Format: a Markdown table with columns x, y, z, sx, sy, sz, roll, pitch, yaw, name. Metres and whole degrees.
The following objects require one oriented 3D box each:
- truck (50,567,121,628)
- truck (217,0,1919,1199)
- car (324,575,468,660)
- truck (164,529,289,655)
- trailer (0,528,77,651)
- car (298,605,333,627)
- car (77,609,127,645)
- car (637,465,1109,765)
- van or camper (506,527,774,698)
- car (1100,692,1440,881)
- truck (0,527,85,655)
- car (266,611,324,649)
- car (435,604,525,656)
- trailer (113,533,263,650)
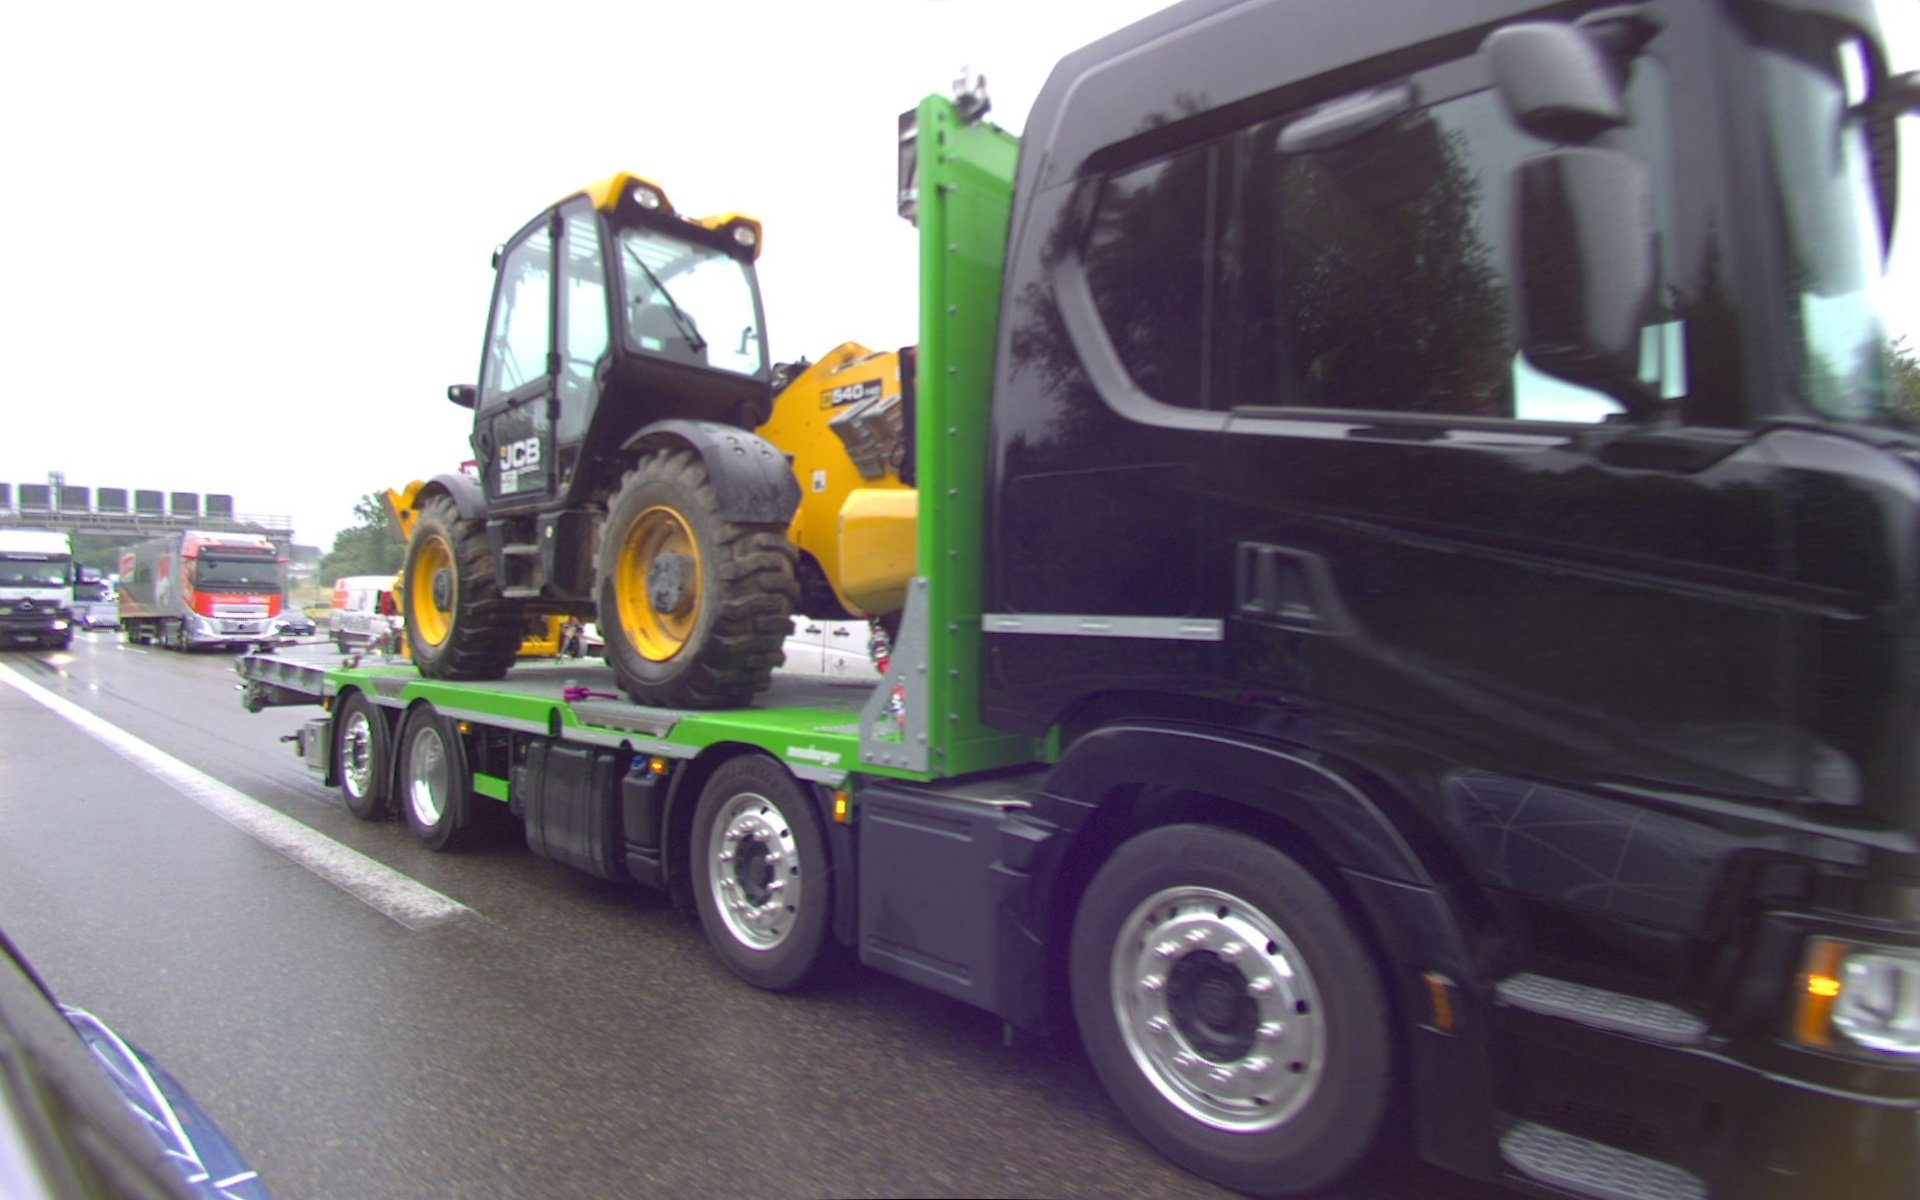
| x | y | z | sx | sy | sz | roll | pitch | yaw | name |
| --- | --- | --- | --- | --- | --- | --- | --- | --- | --- |
| -65.118 | -0.381 | 75.217 | 3.308 | 4.100 | 12.586 | -4 | 4 | -43 | truck |
| -1.551 | -0.356 | 6.308 | 11.798 | 3.616 | 2.800 | 0 | -1 | 43 | truck |
| -18.489 | 0.514 | 32.959 | 7.369 | 2.507 | 2.124 | 0 | 0 | 45 | car |
| -24.607 | -0.230 | 33.895 | 4.590 | 3.893 | 2.598 | 0 | -1 | 44 | truck |
| -37.392 | -0.415 | 40.027 | 2.885 | 4.237 | 13.645 | 1 | 0 | -44 | trailer |
| -63.399 | 1.536 | 99.556 | 1.970 | 2.029 | 4.742 | -2 | 1 | -44 | car |
| -48.610 | 1.481 | 57.310 | 4.001 | 1.785 | 1.738 | 2 | 4 | 44 | car |
| -1.299 | 0.139 | 11.772 | 5.846 | 2.649 | 2.190 | 0 | -1 | 44 | car |
| -7.303 | 0.239 | 22.446 | 7.132 | 3.228 | 2.551 | 0 | -1 | 44 | van or camper |
| 4.097 | 2.345 | 13.741 | 4.000 | 1.830 | 1.869 | -1 | 0 | 43 | car |
| -32.688 | -0.306 | 35.273 | 2.885 | 4.130 | 6.723 | 1 | 0 | -45 | truck |
| -37.001 | 1.637 | 56.269 | 4.000 | 1.785 | 1.739 | 2 | 4 | 43 | car |
| -18.141 | 1.101 | 38.190 | 3.734 | 1.842 | 1.737 | -1 | 0 | 42 | car |
| -30.400 | -0.264 | 39.471 | 13.680 | 3.893 | 2.597 | 0 | -1 | 44 | trailer |
